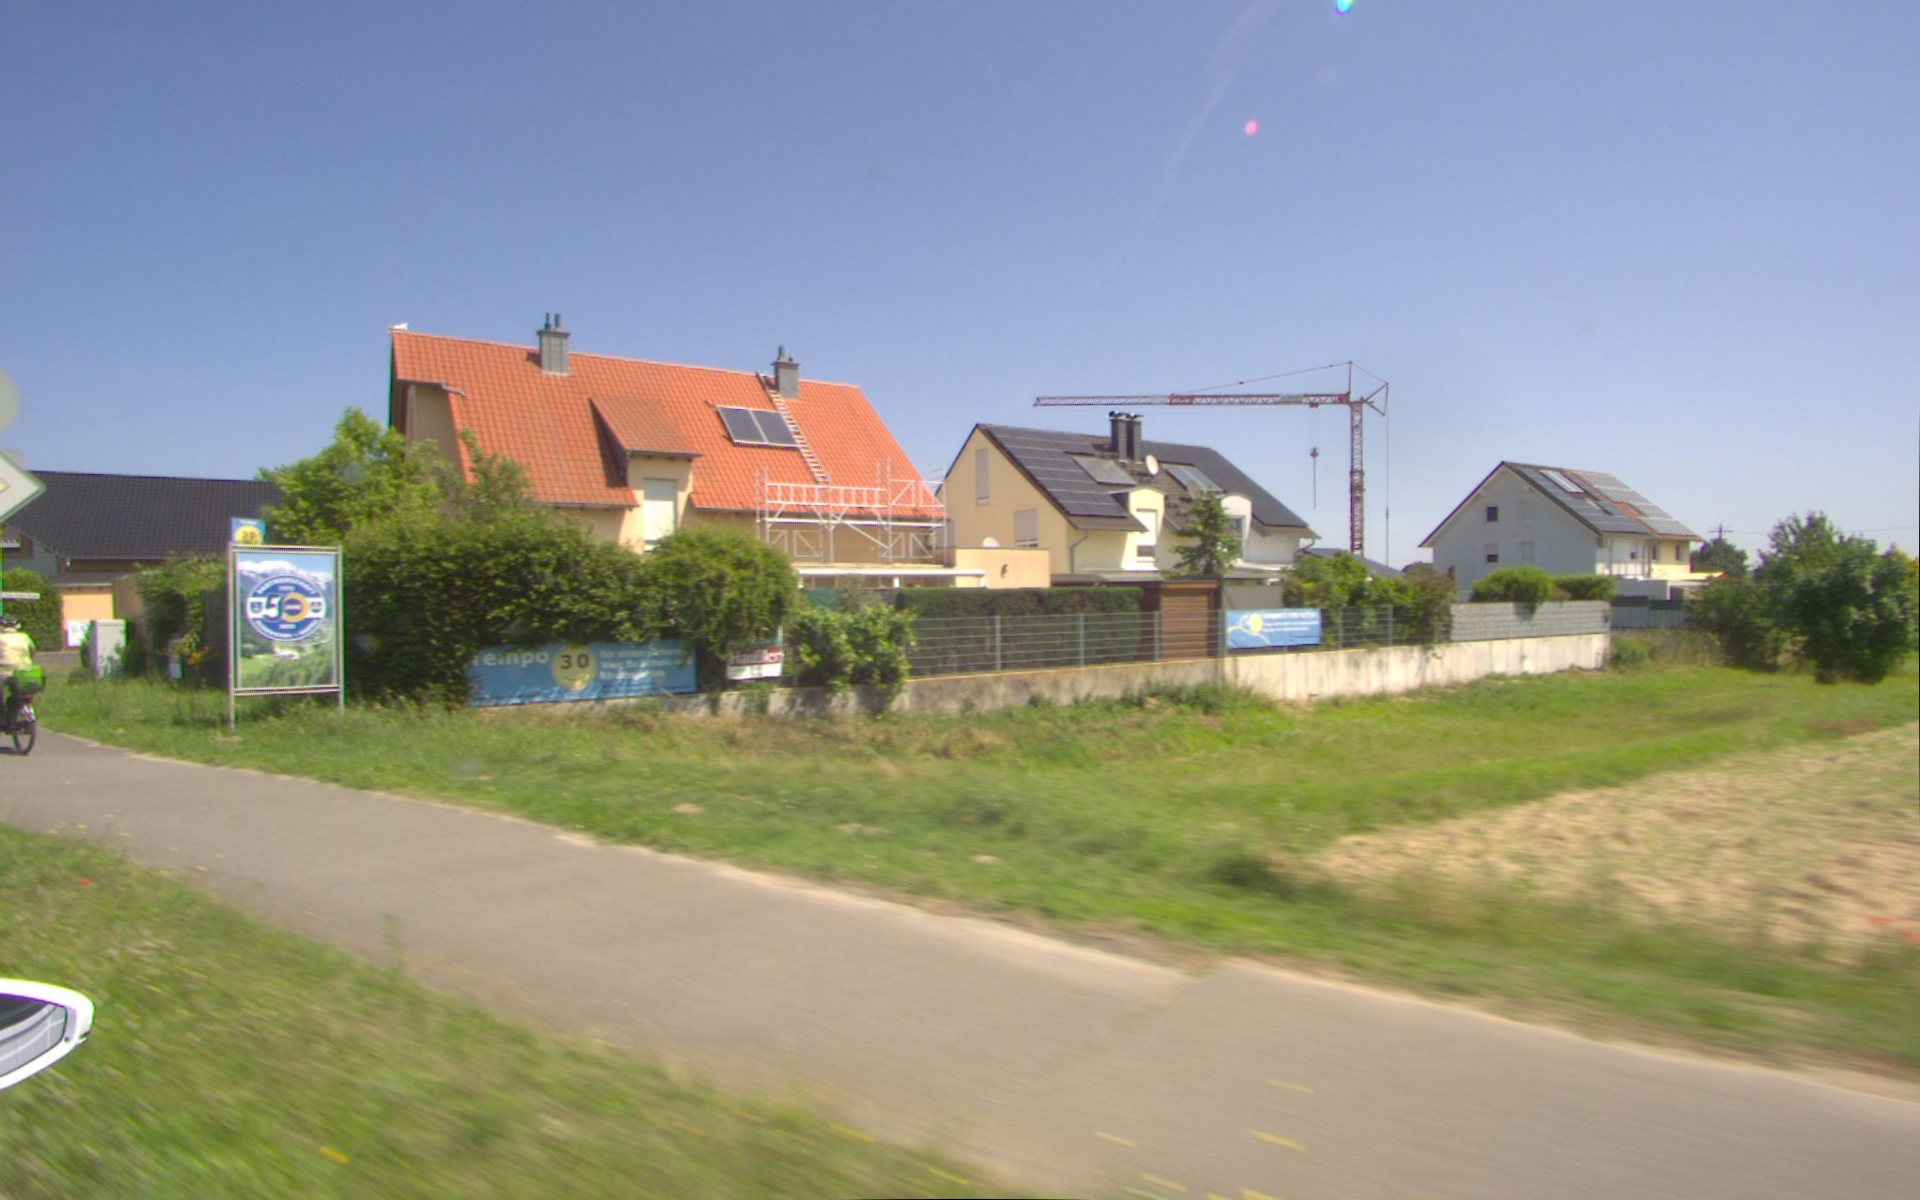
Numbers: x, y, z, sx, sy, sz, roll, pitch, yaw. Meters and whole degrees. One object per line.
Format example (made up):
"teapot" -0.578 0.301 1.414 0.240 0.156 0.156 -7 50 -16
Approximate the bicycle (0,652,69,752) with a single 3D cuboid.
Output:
"bicycle" -12.767 1.324 13.433 2.241 1.174 0.609 0 -1 32

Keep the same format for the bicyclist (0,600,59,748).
"bicyclist" -12.581 0.960 13.331 0.848 1.914 0.644 1 0 32
